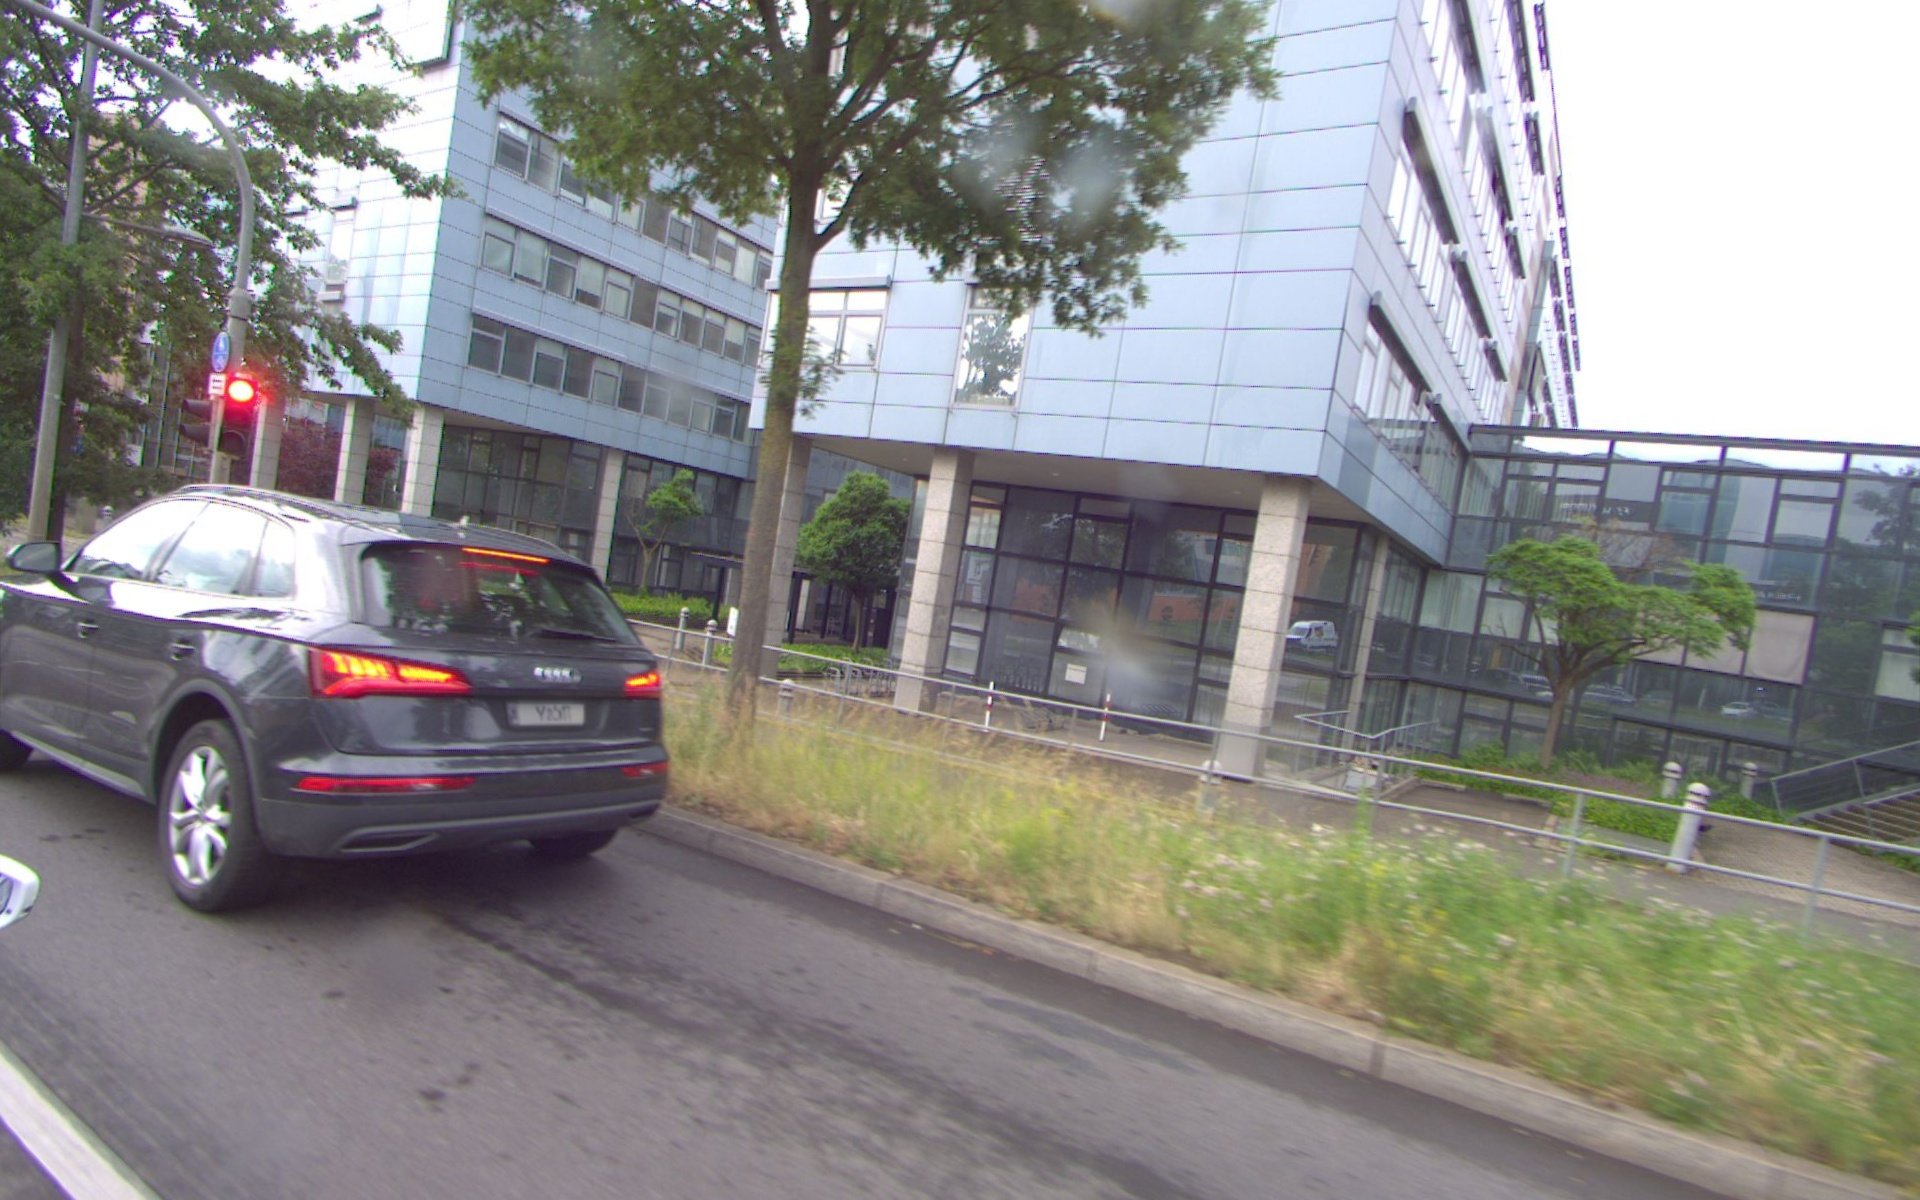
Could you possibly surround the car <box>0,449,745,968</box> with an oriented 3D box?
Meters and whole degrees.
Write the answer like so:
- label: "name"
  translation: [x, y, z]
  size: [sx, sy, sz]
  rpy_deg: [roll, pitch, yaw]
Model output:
- label: "car"
  translation: [-3.468, 0.253, 5.267]
  size: [4.396, 1.632, 1.821]
  rpy_deg: [7, 0, 32]
